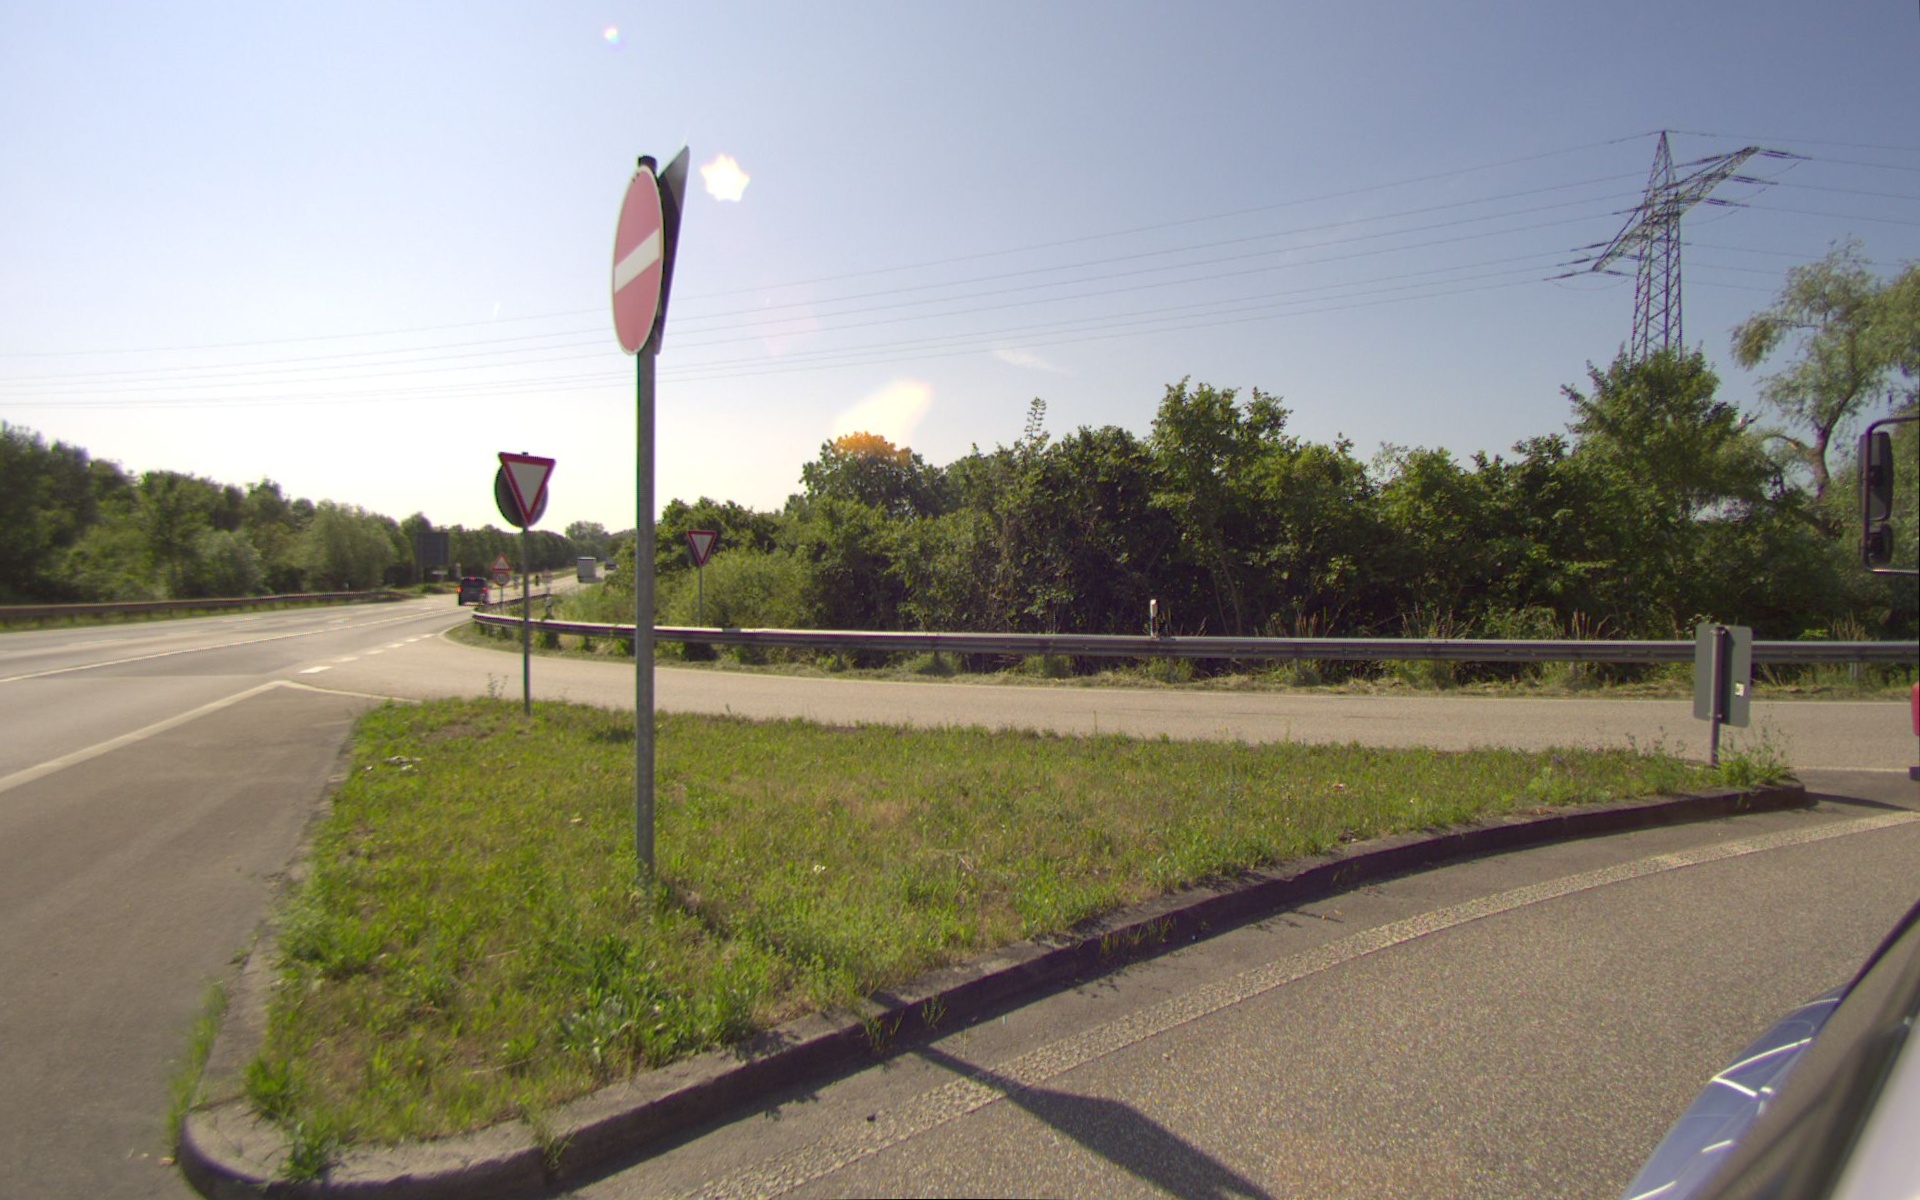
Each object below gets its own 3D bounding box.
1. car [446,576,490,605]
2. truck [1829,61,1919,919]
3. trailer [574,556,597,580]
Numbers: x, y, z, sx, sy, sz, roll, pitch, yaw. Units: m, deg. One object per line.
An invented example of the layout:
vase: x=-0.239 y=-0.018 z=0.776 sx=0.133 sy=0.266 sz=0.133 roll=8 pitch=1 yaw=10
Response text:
car: x=-33.983 y=-0.652 z=70.018 sx=1.958 sy=1.903 sz=5.004 roll=0 pitch=0 yaw=-17
truck: x=8.692 y=-0.472 z=5.329 sx=9.070 sy=3.707 sz=2.696 roll=0 pitch=0 yaw=-25
trailer: x=-64.550 y=-5.461 z=174.635 sx=2.868 sy=4.060 sz=13.447 roll=0 pitch=1 yaw=-17
